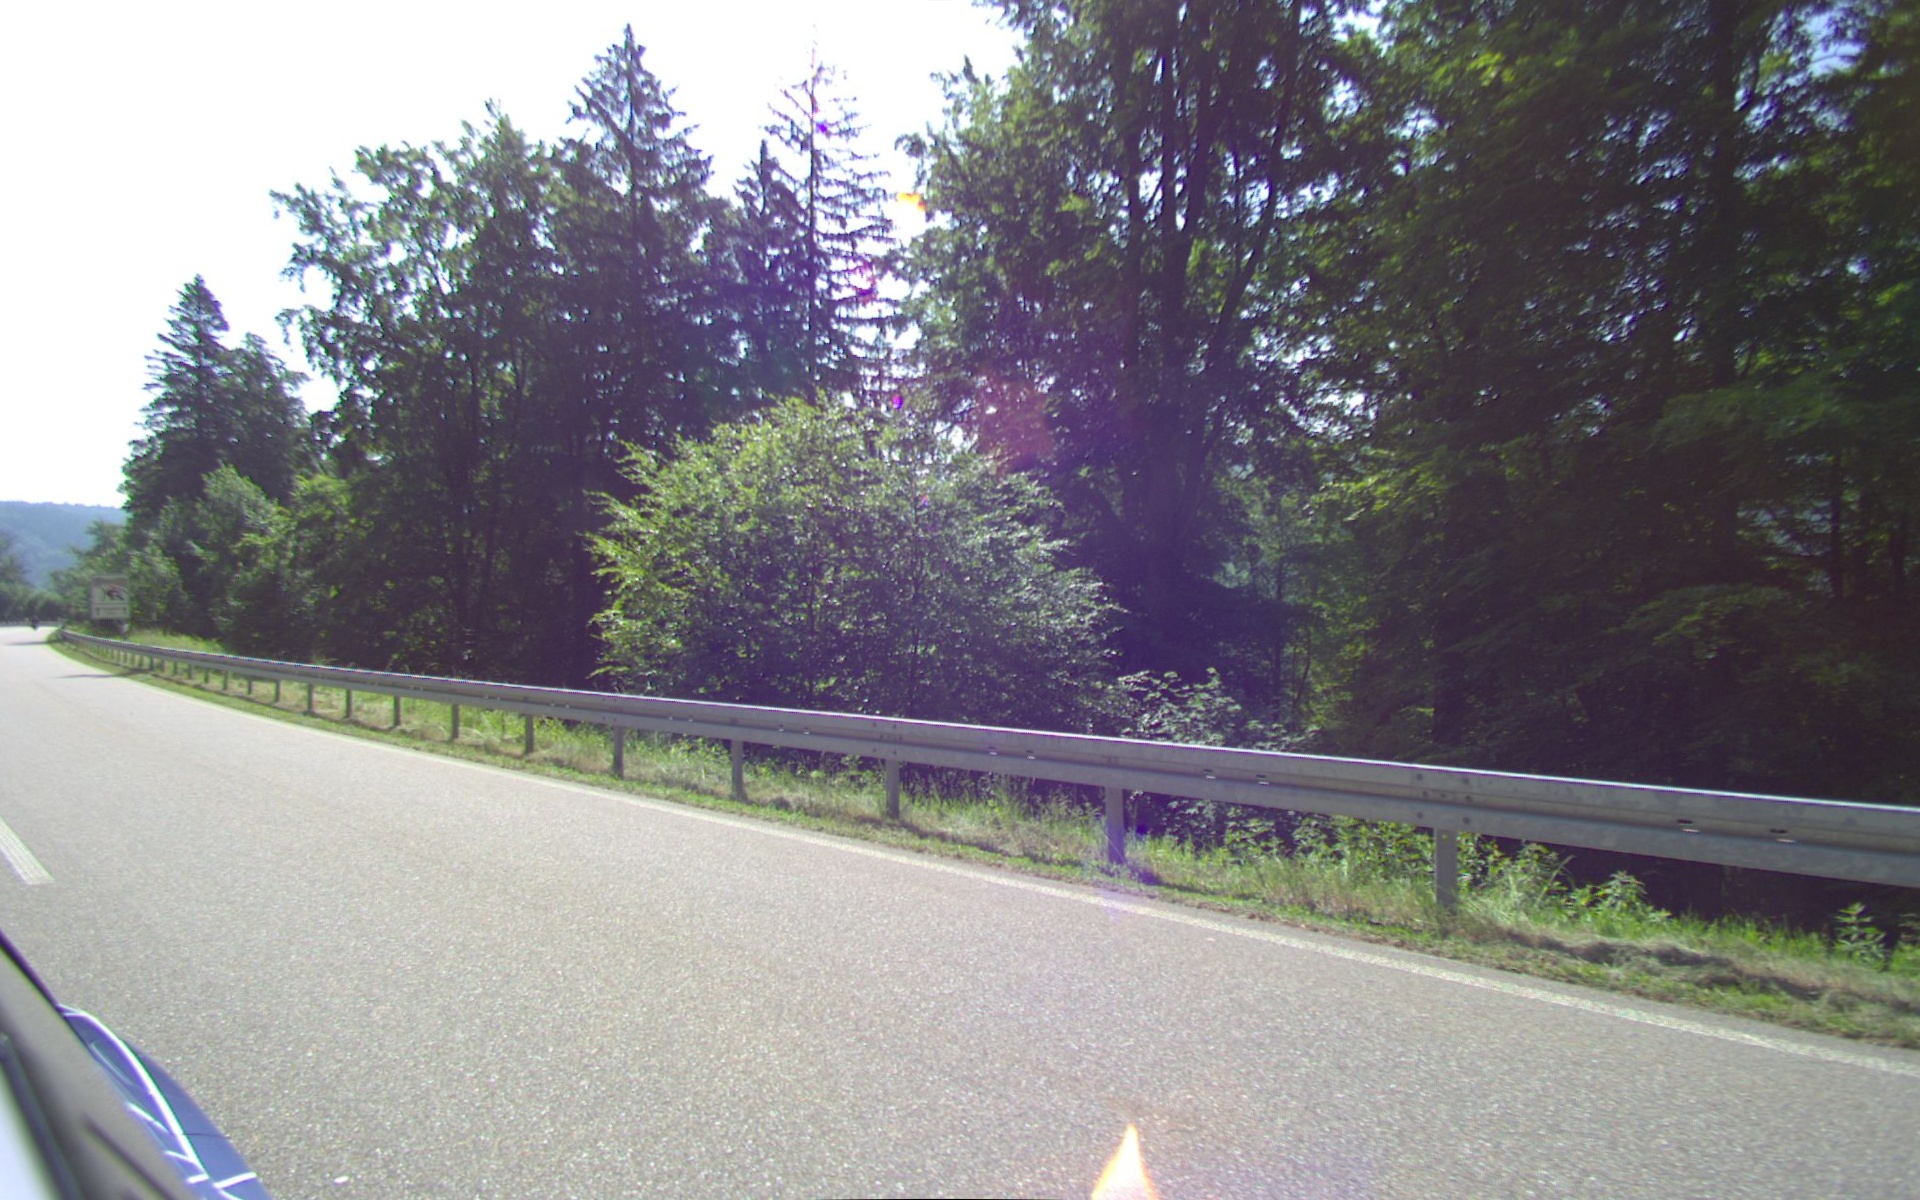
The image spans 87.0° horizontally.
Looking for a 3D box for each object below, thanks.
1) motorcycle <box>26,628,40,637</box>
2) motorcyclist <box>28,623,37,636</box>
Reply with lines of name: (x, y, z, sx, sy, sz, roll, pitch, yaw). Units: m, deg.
motorcycle: (-108.095, 3.791, 118.026, 0.972, 1.079, 1.967, 1, -1, -37)
motorcyclist: (-108.122, 3.396, 117.993, 0.649, 1.524, 0.936, 1, -2, -37)
